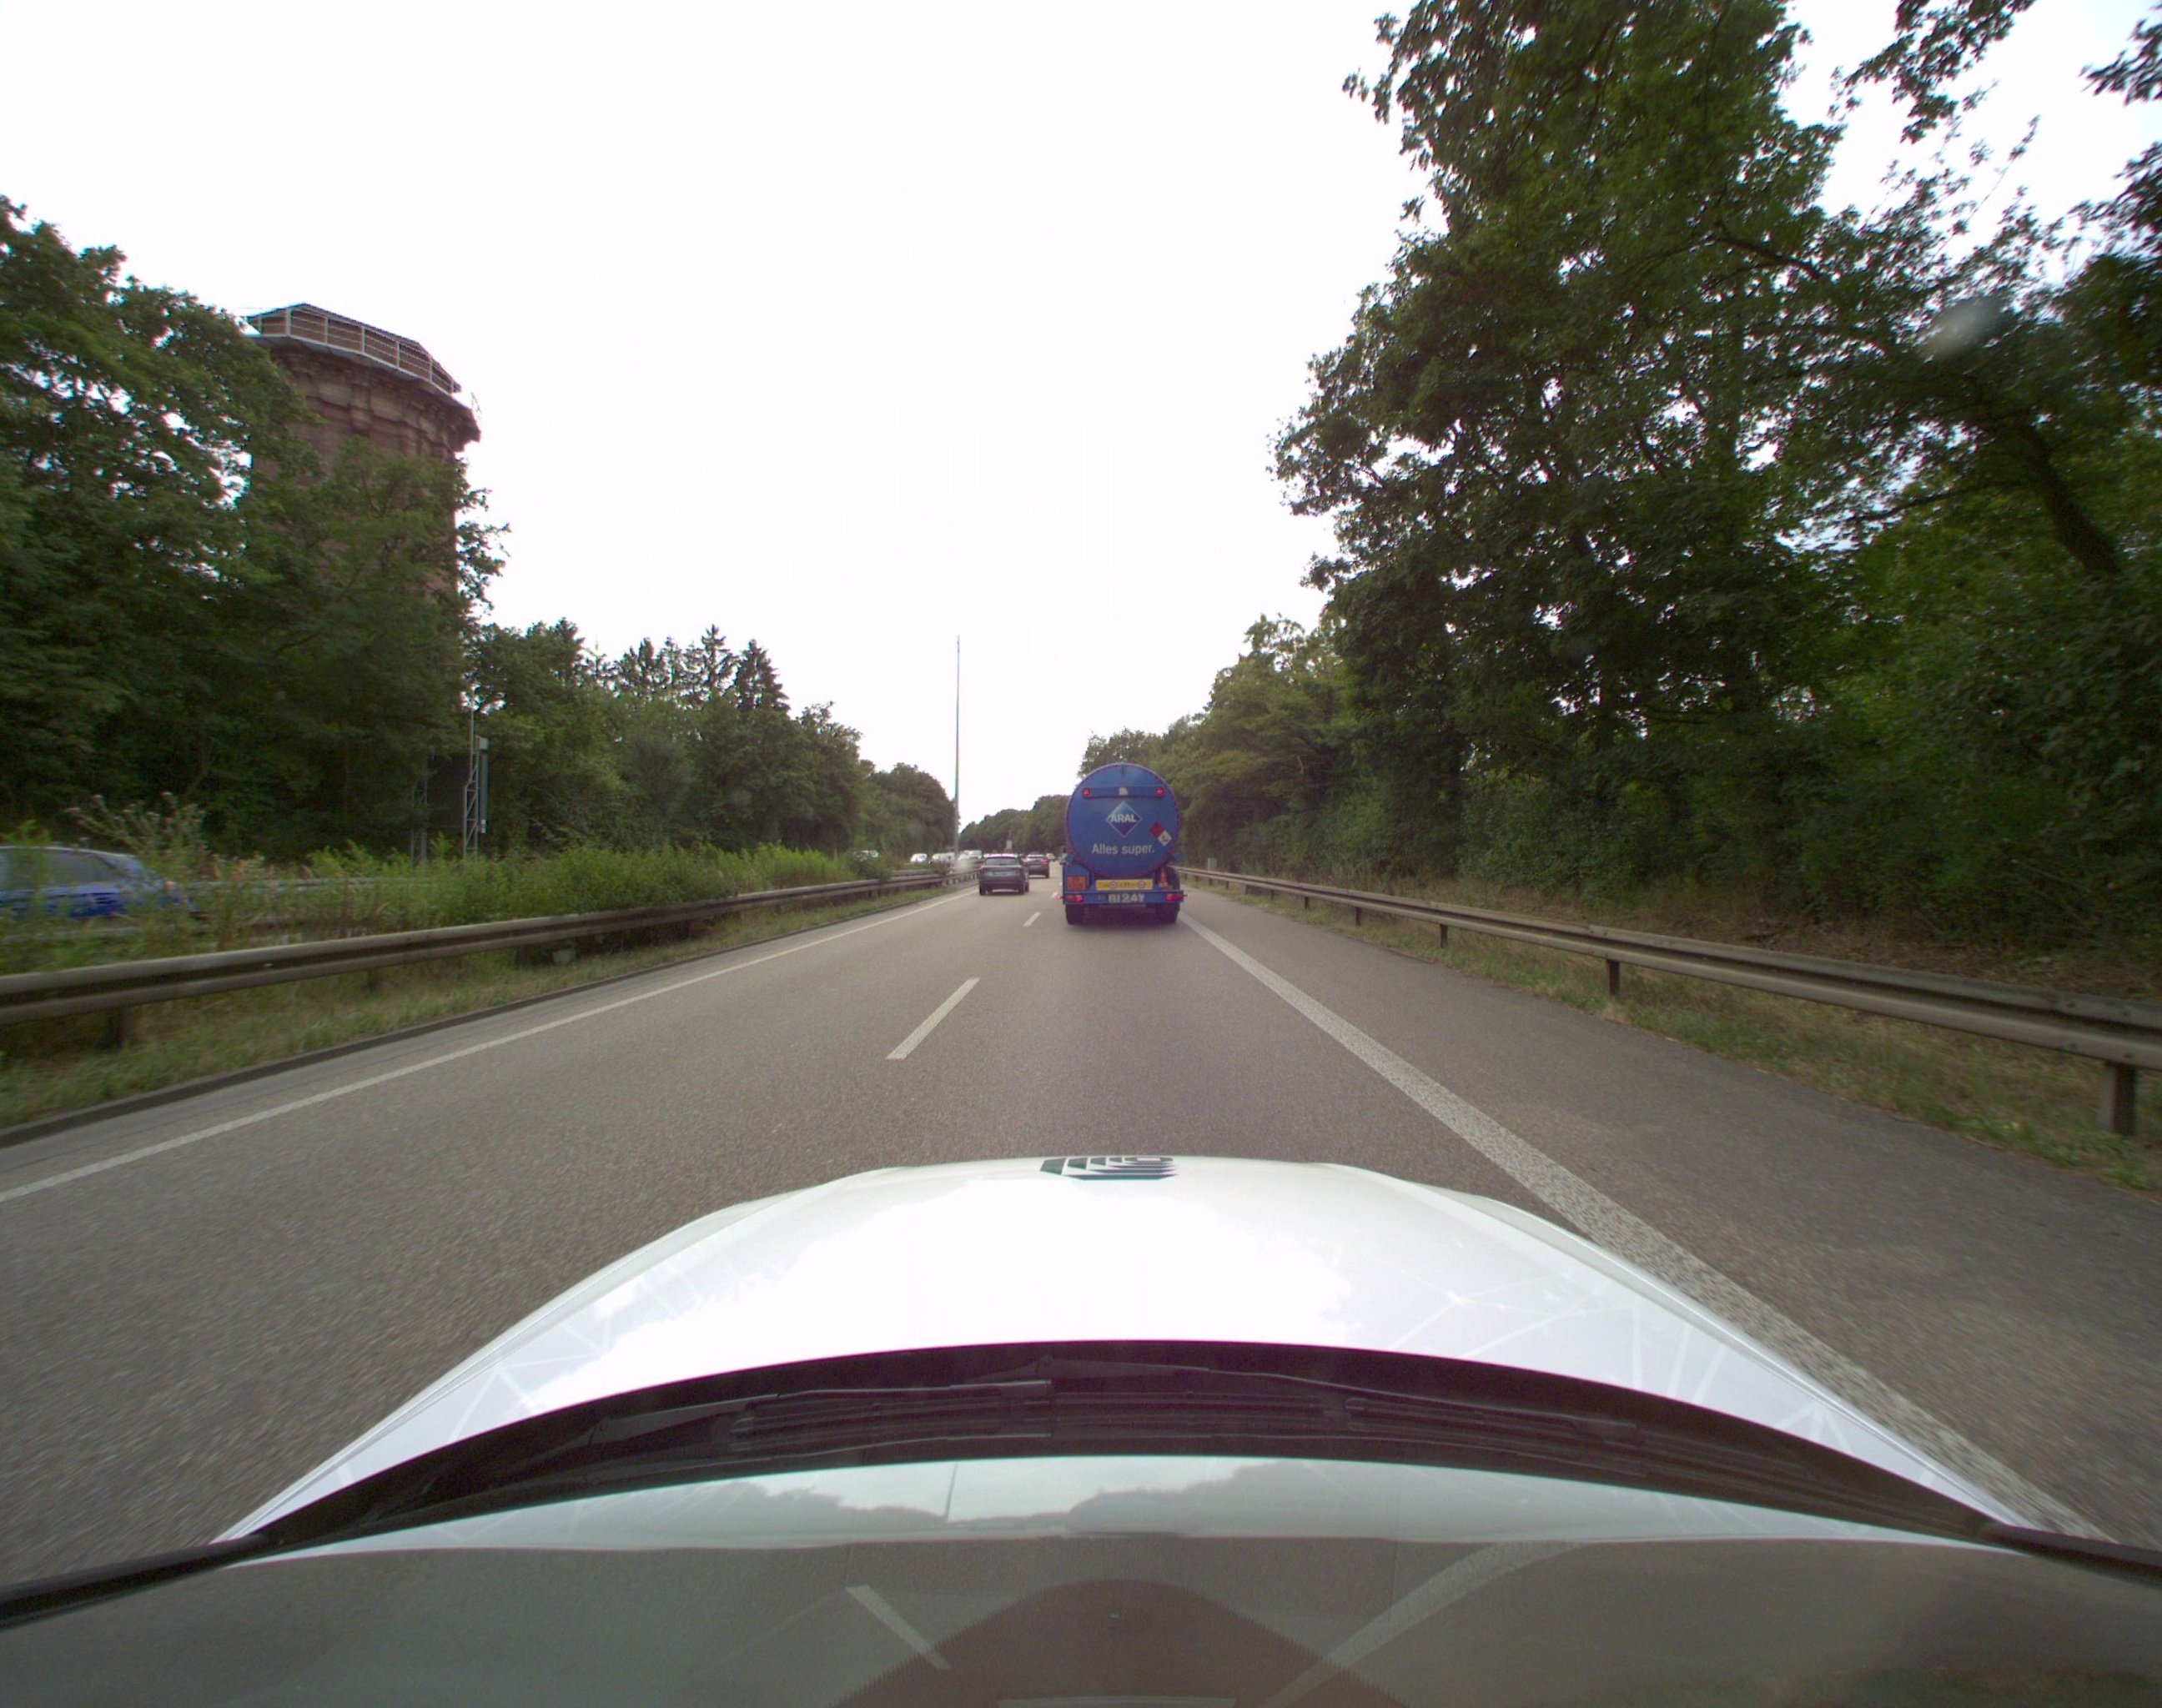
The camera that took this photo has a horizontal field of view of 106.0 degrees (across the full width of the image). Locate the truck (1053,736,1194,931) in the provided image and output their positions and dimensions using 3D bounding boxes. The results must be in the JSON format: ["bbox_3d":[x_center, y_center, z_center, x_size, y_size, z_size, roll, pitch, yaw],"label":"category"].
[{"bbox_3d":[0.830,-0.376,20.131,2.747,3.847,7.685,-1,-1,-1],"label":"truck"}]

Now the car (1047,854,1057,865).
[{"bbox_3d":[-6.095,1.159,169.275,1.988,2.244,3.998,-1,-1,-1],"label":"car"}]

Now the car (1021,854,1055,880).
[{"bbox_3d":[-2.824,0.854,54.151,1.818,1.609,4.170,-1,-1,3],"label":"car"}]

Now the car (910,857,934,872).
[{"bbox_3d":[-15.965,1.045,81.701,1.623,1.508,3.727,-1,-1,0],"label":"car"}]

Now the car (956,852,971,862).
[{"bbox_3d":[-17.884,0.405,124.217,1.807,1.450,4.054,-1,-1,-2],"label":"car"}]

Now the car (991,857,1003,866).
[{"bbox_3d":[-14.918,1.357,144.269,1.707,1.427,4.054,-1,-1,-2],"label":"car"}]

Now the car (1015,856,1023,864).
[{"bbox_3d":[-17.810,1.745,234.411,1.990,2.244,3.994,-1,-1,-4],"label":"car"}]

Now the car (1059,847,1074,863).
[{"bbox_3d":[-2.104,0.124,118.309,1.988,2.244,3.996,-1,-1,-2],"label":"car"}]

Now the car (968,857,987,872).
[{"bbox_3d":[-12.533,1.275,99.115,1.786,1.836,4.954,-1,-1,-1],"label":"car"}]

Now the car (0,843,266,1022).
[{"bbox_3d":[-11.285,0.793,8.960,1.510,1.747,3.057,-1,-1,1],"label":"car"}]

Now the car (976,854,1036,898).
[{"bbox_3d":[-2.973,0.856,33.047,1.818,1.609,4.170,-1,-1,3],"label":"car"}]

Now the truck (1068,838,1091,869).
[{"bbox_3d":[-0.164,0.018,84.960,1.989,3.093,7.806,-1,-1,-3],"label":"truck"}]
